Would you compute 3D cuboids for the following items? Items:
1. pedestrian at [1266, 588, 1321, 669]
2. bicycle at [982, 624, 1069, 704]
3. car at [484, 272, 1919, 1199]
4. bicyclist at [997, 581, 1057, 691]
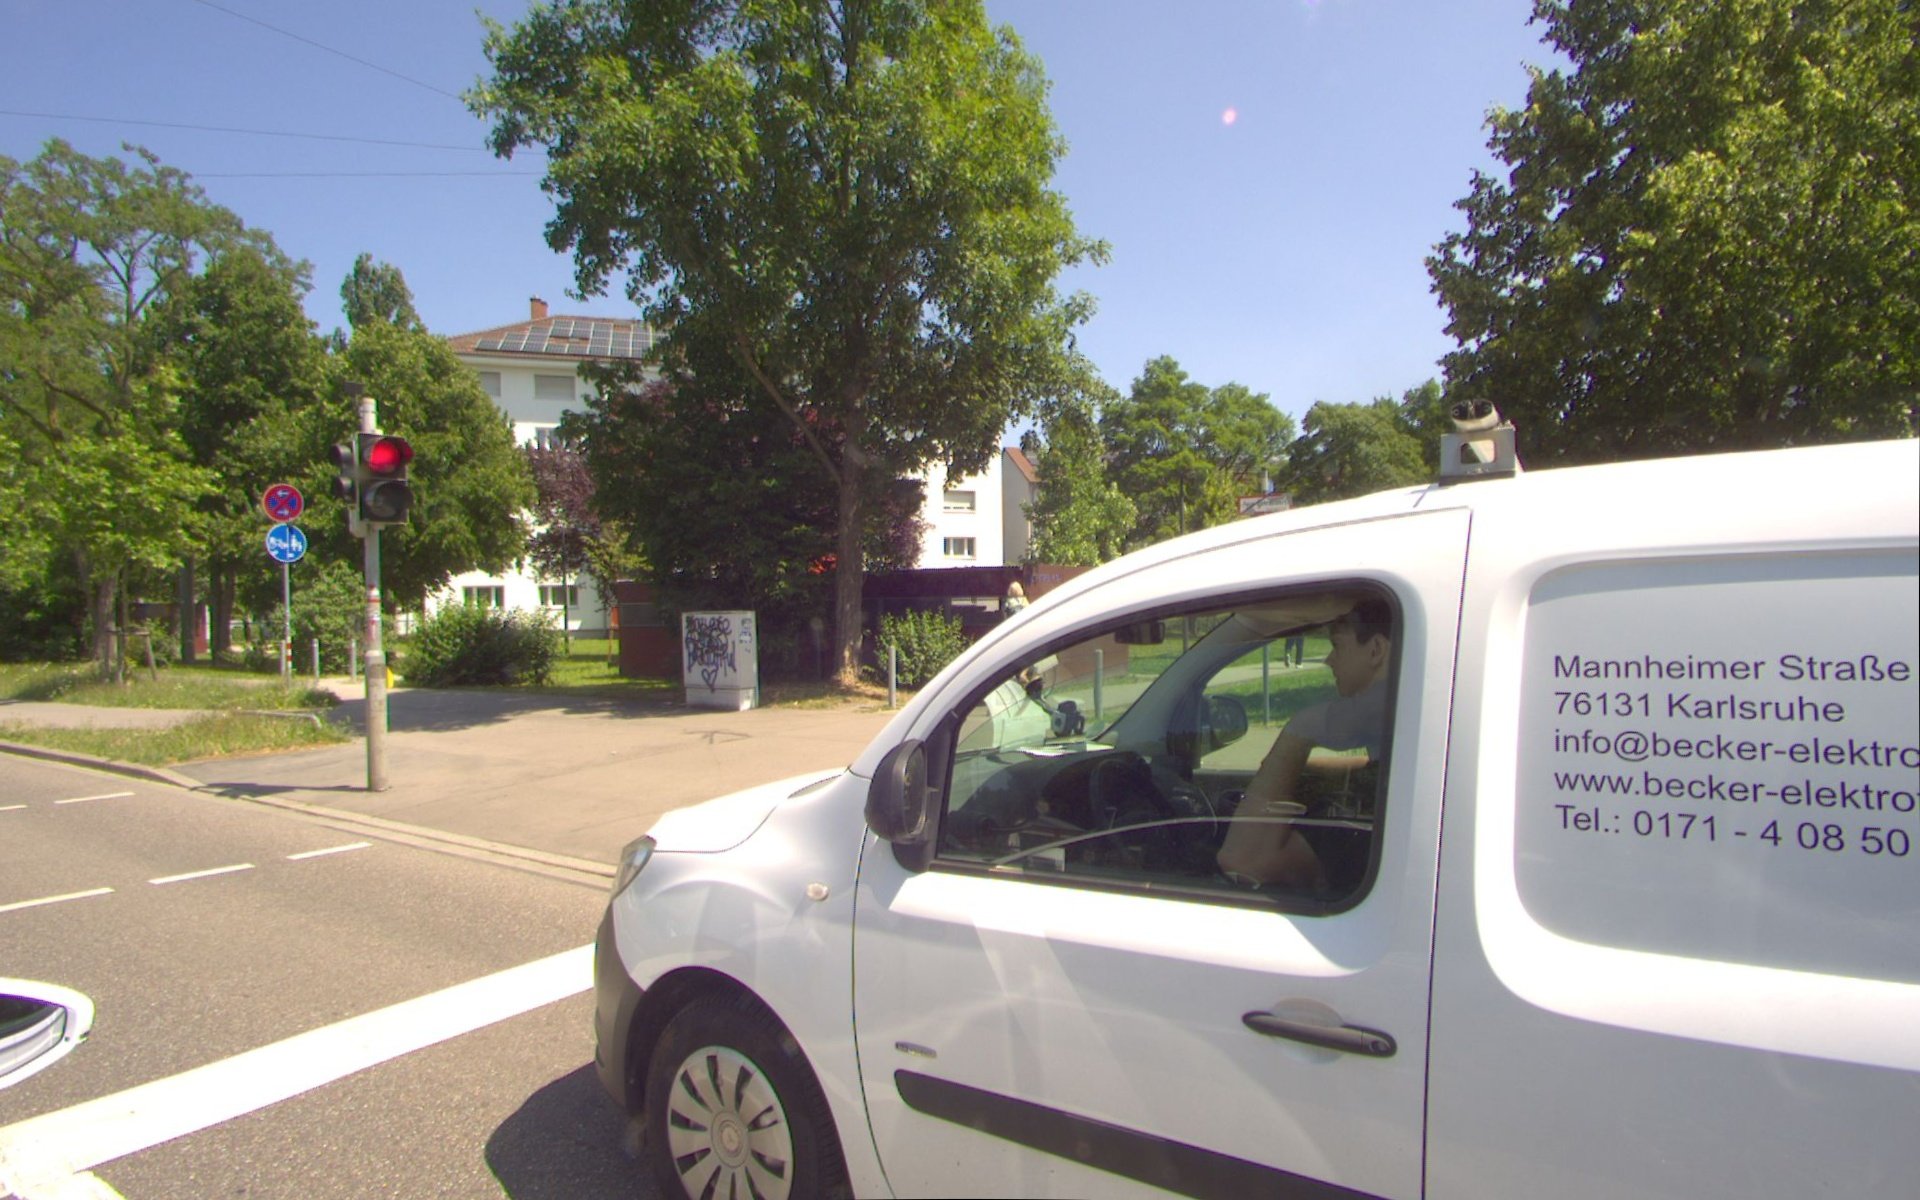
[{"bbox_3d":[7.666,0.643,23.025,0.829,1.801,1.180,-2,1,36],"label":"pedestrian"},{"bbox_3d":[1.076,0.981,15.931,0.533,1.176,1.954,0,-1,32],"label":"bicycle"},{"bbox_3d":[1.123,0.568,2.305,4.384,1.850,1.990,-1,0,32],"label":"car"},{"bbox_3d":[1.071,0.568,15.924,0.572,1.689,0.955,0,0,32],"label":"bicyclist"}]
